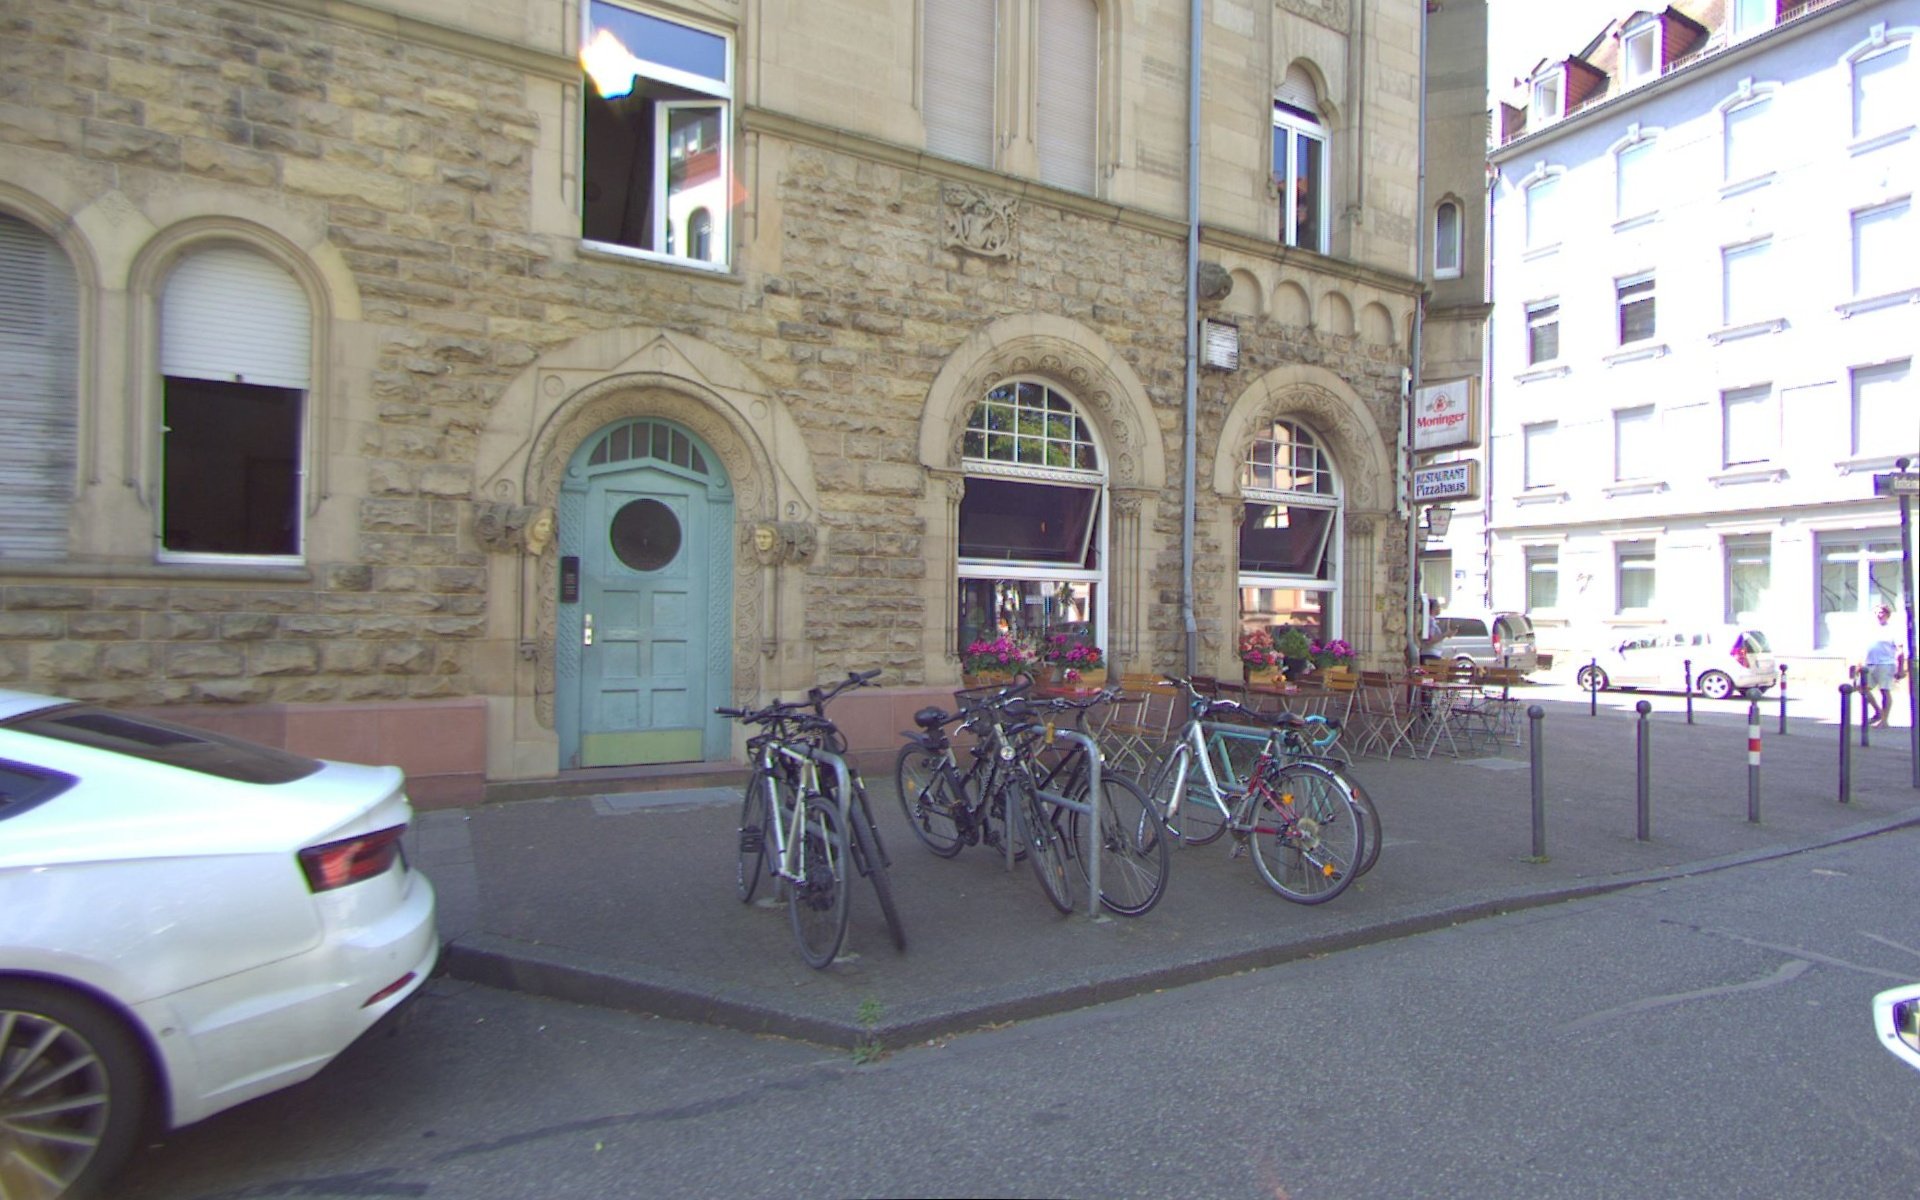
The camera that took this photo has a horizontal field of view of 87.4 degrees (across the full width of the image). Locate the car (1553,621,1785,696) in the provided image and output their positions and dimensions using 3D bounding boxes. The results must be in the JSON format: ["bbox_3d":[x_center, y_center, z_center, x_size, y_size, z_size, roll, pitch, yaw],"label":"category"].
[{"bbox_3d":[16.238,1.297,23.233,1.785,1.582,4.029,1,-2,-29],"label":"car"}]

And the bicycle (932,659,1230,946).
[{"bbox_3d":[0.543,0.952,5.409,0.431,1.144,1.984,1,0,-31],"label":"bicycle"}]

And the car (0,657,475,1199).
[{"bbox_3d":[-3.742,0.837,2.469,4.463,1.370,1.693,2,-4,-31],"label":"car"}]

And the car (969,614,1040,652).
[{"bbox_3d":[2.117,1.593,48.991,1.701,1.753,3.816,0,-1,-29],"label":"car"}]

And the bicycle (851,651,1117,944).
[{"bbox_3d":[0.031,0.927,5.409,0.390,1.145,1.961,1,2,-31],"label":"bicycle"}]

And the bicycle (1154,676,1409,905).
[{"bbox_3d":[1.797,1.026,5.842,0.363,1.021,1.516,1,1,-31],"label":"bicycle"}]

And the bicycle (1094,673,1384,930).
[{"bbox_3d":[1.456,1.010,5.567,0.409,1.059,1.695,1,1,-31],"label":"bicycle"}]

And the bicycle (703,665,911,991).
[{"bbox_3d":[-0.769,0.915,4.603,0.289,1.115,1.693,1,0,-31],"label":"bicycle"}]

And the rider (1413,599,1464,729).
[{"bbox_3d":[6.495,0.857,13.647,0.530,1.719,0.642,0,-2,17],"label":"rider"}]

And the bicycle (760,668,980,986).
[{"bbox_3d":[-0.498,0.948,4.752,0.289,1.115,1.693,1,1,-31],"label":"bicycle"}]

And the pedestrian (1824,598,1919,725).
[{"bbox_3d":[14.244,0.946,15.605,0.918,1.914,0.851,1,-2,-10],"label":"pedestrian"}]

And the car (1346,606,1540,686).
[{"bbox_3d":[13.322,1.237,28.045,1.854,2.024,4.687,0,-1,-28],"label":"car"}]
